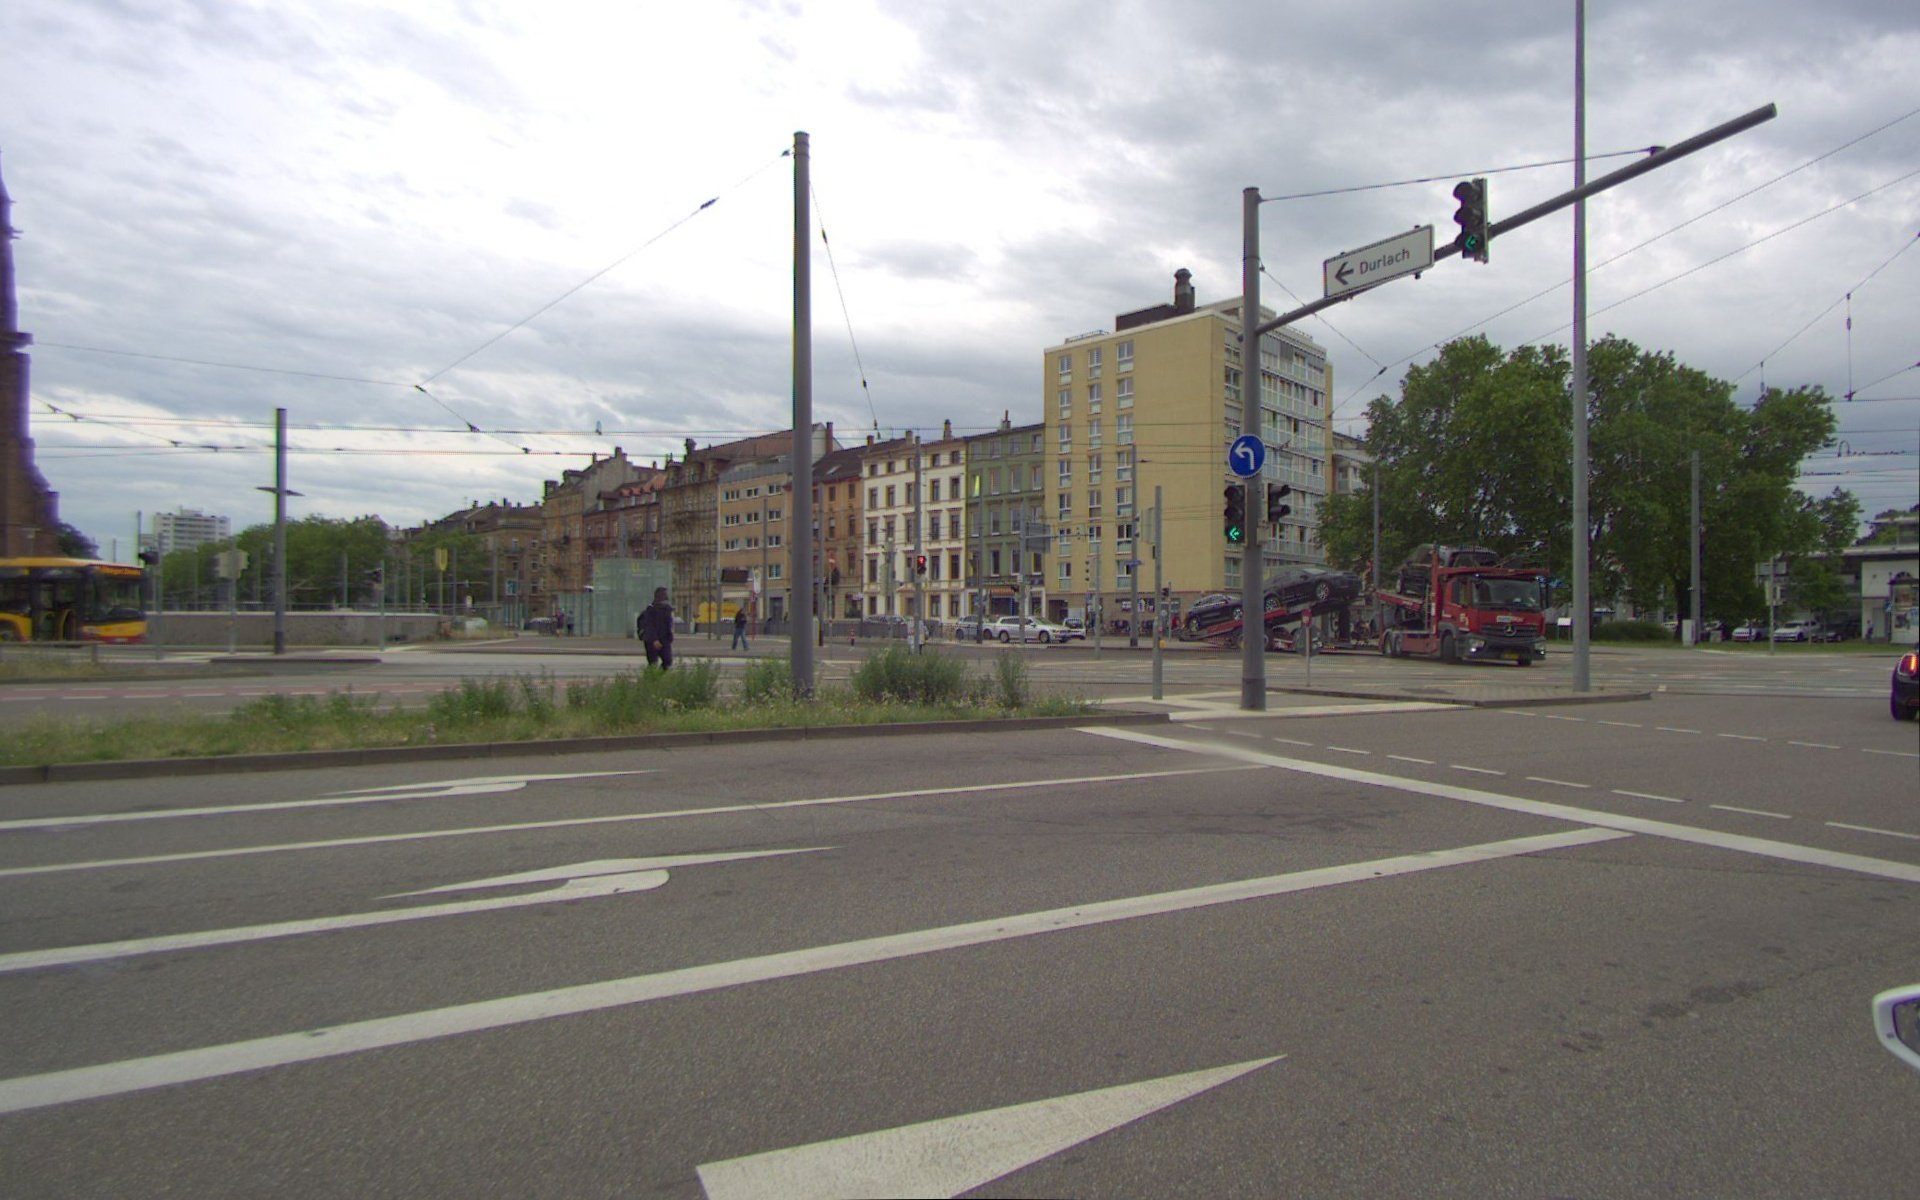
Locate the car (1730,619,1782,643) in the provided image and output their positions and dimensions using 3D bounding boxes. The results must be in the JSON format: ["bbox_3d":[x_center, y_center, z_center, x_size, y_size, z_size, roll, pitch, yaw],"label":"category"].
[{"bbox_3d":[69.921,2.697,88.226,3.946,2.040,1.987,1,0,-25],"label":"car"}]

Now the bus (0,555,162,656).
[{"bbox_3d":[-33.411,0.088,33.204,11.782,3.118,2.865,1,0,0],"label":"bus"}]

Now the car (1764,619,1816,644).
[{"bbox_3d":[71.061,2.690,85.986,3.946,2.040,1.987,1,0,-25],"label":"car"}]

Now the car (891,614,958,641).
[{"bbox_3d":[-2.125,1.615,59.223,3.567,1.513,1.990,0,-1,41],"label":"car"}]

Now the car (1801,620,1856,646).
[{"bbox_3d":[72.050,2.706,83.313,3.946,2.040,1.987,1,0,-25],"label":"car"}]

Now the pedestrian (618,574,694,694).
[{"bbox_3d":[-5.102,0.562,16.918,0.962,1.969,0.782,0,-1,9],"label":"pedestrian"}]

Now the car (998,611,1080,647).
[{"bbox_3d":[4.189,1.524,53.663,3.942,1.751,1.989,1,0,42],"label":"car"}]

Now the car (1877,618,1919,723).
[{"bbox_3d":[15.440,1.023,14.993,3.959,1.488,1.758,1,-1,-35],"label":"car"}]

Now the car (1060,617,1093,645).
[{"bbox_3d":[8.038,2.071,69.010,2.039,1.779,4.002,1,0,10],"label":"car"}]

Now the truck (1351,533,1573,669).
[{"bbox_3d":[16.828,0.038,34.831,2.955,3.972,10.460,1,0,3],"label":"truck"}]

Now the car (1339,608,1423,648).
[{"bbox_3d":[23.298,1.506,55.577,3.934,2.040,1.994,1,0,35],"label":"car"}]

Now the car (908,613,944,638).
[{"bbox_3d":[-2.628,1.975,78.866,2.039,1.779,4.002,1,0,10],"label":"car"}]

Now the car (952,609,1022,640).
[{"bbox_3d":[1.614,1.453,61.082,3.942,1.751,1.989,1,0,42],"label":"car"}]

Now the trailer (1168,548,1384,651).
[{"bbox_3d":[13.530,-0.028,44.131,2.963,4.026,9.472,1,0,-31],"label":"trailer"}]

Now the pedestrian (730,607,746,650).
[{"bbox_3d":[-8.542,1.108,38.692,0.475,1.632,0.422,1,-1,-31],"label":"pedestrian"}]

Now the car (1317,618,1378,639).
[{"bbox_3d":[29.758,2.193,77.125,3.941,1.572,1.990,-1,-1,41],"label":"car"}]

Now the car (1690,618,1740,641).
[{"bbox_3d":[68.288,2.669,90.881,3.946,2.040,1.987,1,0,-25],"label":"car"}]
